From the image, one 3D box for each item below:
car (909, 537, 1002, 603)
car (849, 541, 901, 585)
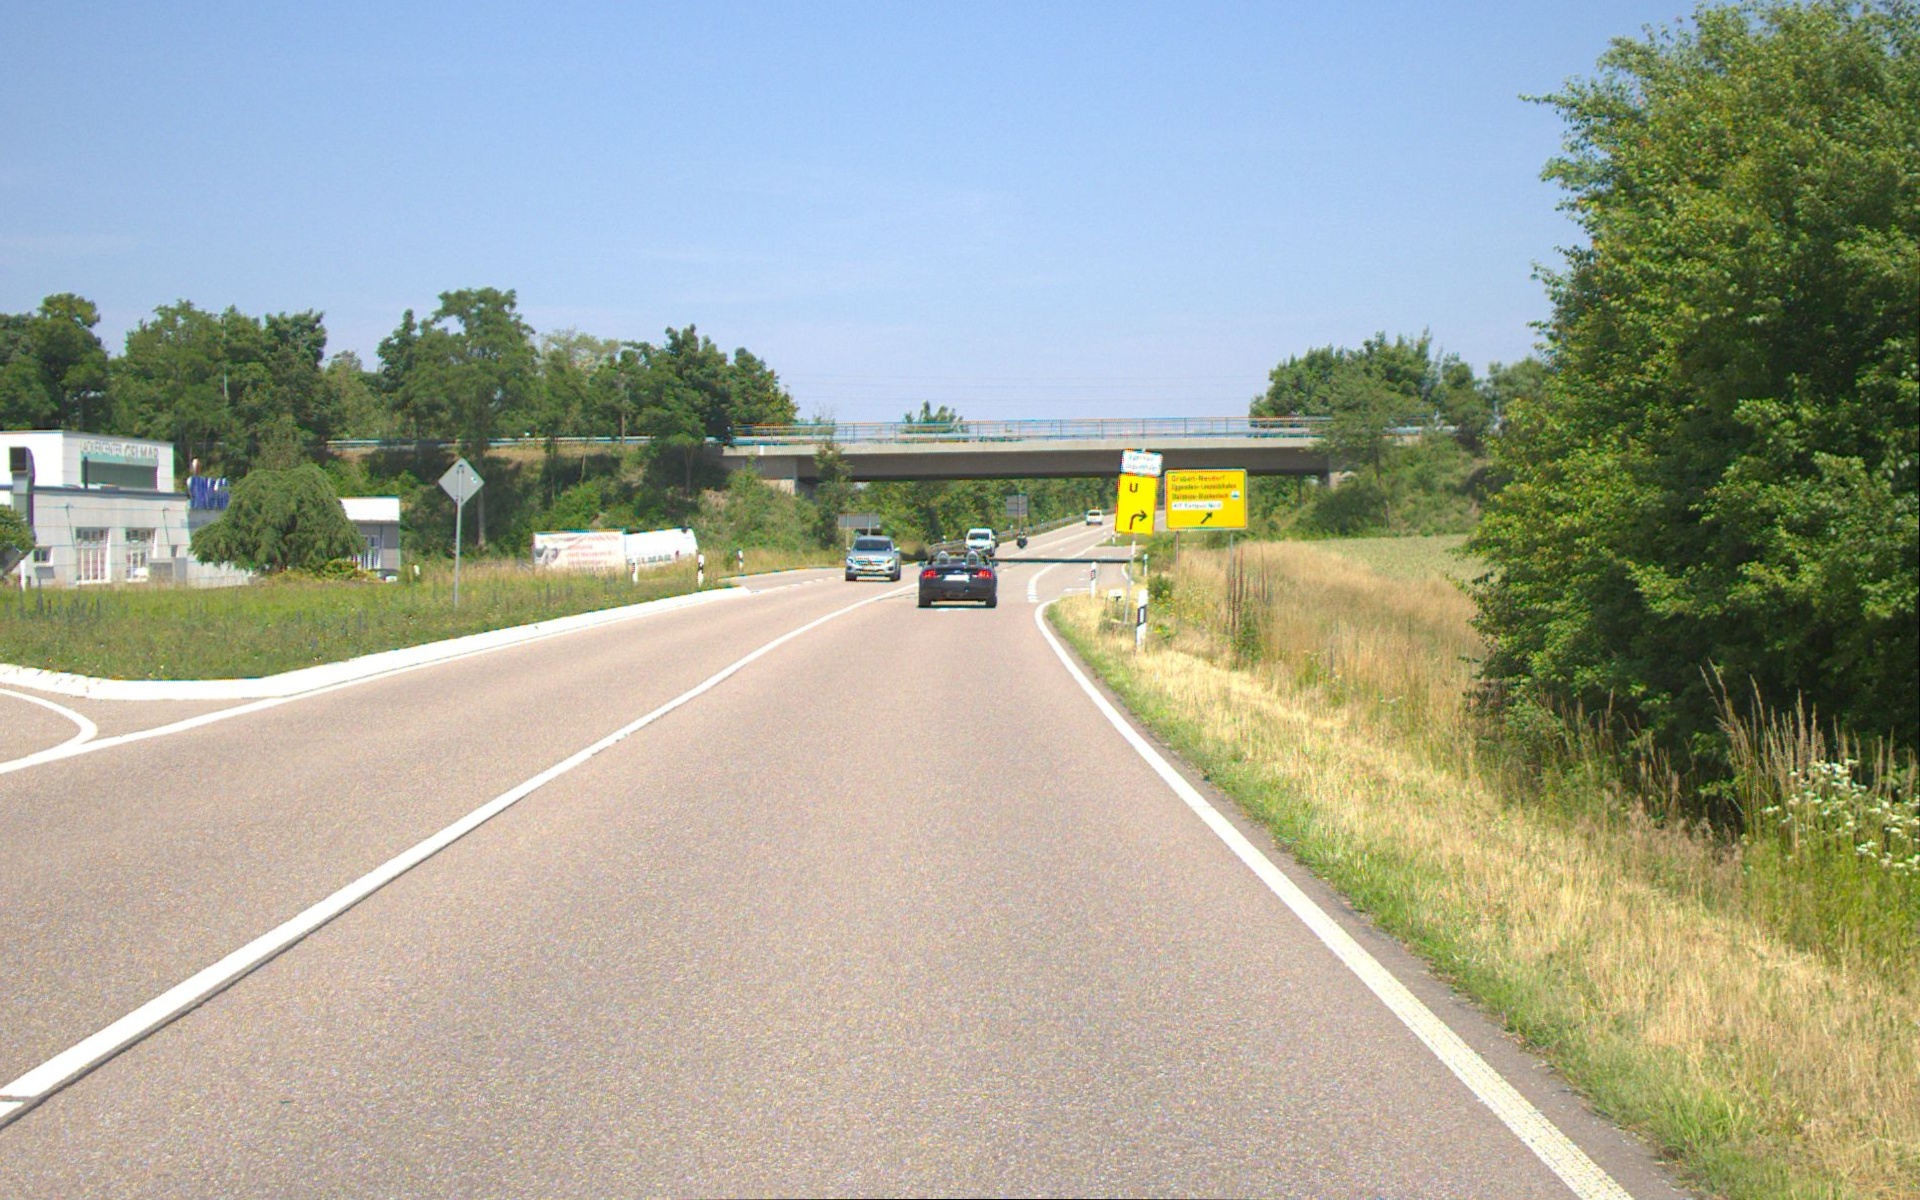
[{"bbox_3d":[-0.131,-0.696,78.000,1.814,1.436,4.001,0,1,-4],"label":"car"},{"bbox_3d":[-3.092,-1.340,124.271,1.831,1.562,3.334,-1,1,-2],"label":"car"}]
